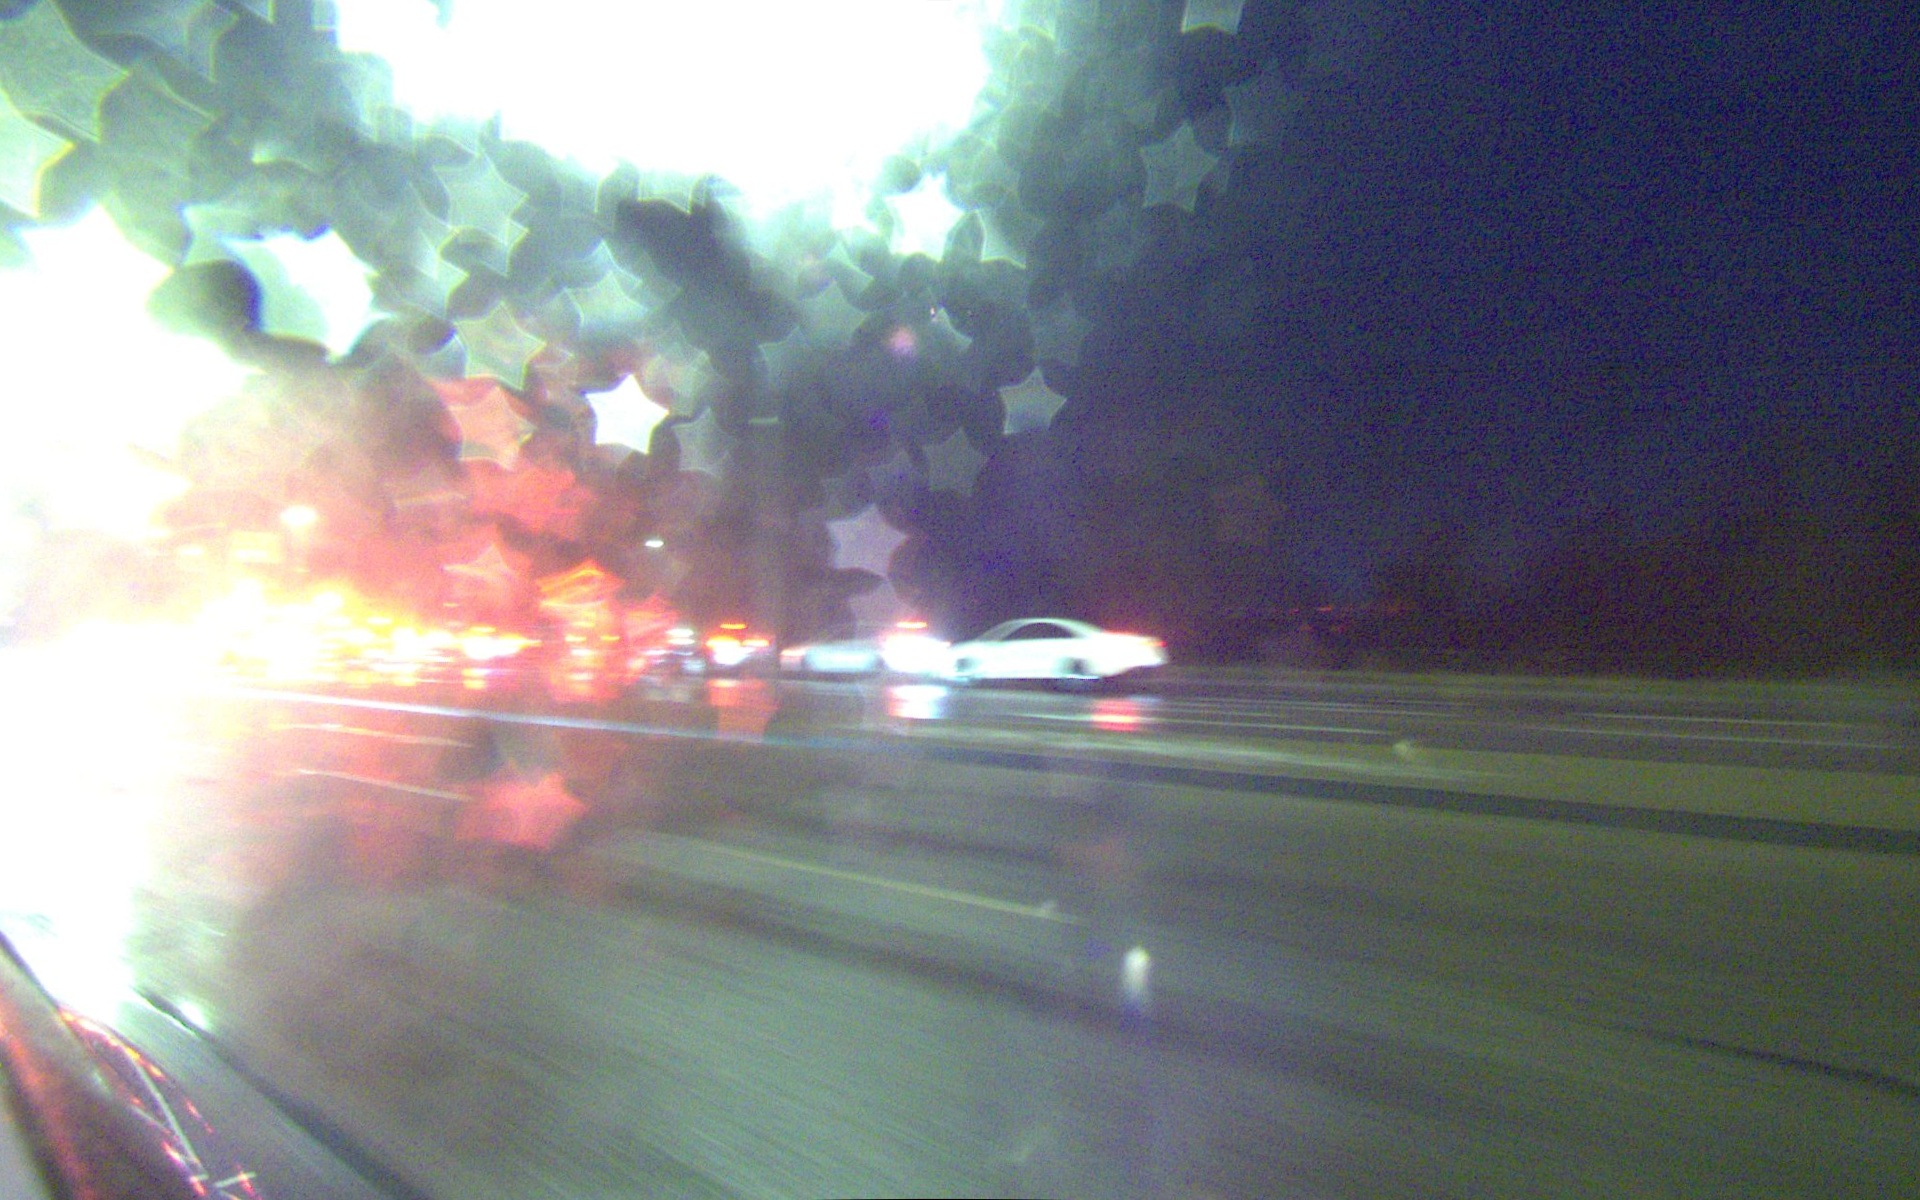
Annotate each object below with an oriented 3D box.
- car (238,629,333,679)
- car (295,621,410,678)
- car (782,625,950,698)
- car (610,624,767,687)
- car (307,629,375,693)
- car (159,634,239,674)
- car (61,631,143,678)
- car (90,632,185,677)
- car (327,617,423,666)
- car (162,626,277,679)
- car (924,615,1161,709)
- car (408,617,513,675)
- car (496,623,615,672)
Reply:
[{"bbox_3d":[-25.482,1.982,38.201,3.970,1.678,1.782,0,0,37],"label":"car"},{"bbox_3d":[-20.330,1.603,33.794,4.480,1.678,1.782,0,0,37],"label":"car"},{"bbox_3d":[-2.333,1.440,24.497,4.140,1.614,1.479,-2,-1,38],"label":"car"},{"bbox_3d":[-7.633,1.507,28.293,4.526,1.550,1.834,0,-3,37],"label":"car"},{"bbox_3d":[-29.992,2.858,49.198,2.217,2.730,5.628,0,0,-25],"label":"car"},{"bbox_3d":[-32.576,2.269,43.290,4.051,1.498,1.697,0,0,37],"label":"car"},{"bbox_3d":[-34.556,2.154,40.730,3.895,1.738,1.743,-2,-1,37],"label":"car"},{"bbox_3d":[-29.785,1.945,36.599,4.406,1.495,1.760,-2,-1,38],"label":"car"},{"bbox_3d":[-23.190,1.665,40.043,4.243,1.813,1.782,-3,-2,37],"label":"car"},{"bbox_3d":[-23.850,1.645,32.553,4.297,1.590,1.796,-2,-2,36],"label":"car"},{"bbox_3d":[1.609,1.175,20.451,4.422,1.541,1.867,-1,4,36],"label":"car"},{"bbox_3d":[-17.951,1.594,36.291,4.118,1.862,1.743,0,0,37],"label":"car"},{"bbox_3d":[-13.005,1.491,32.491,4.033,1.387,1.743,0,0,37],"label":"car"}]
